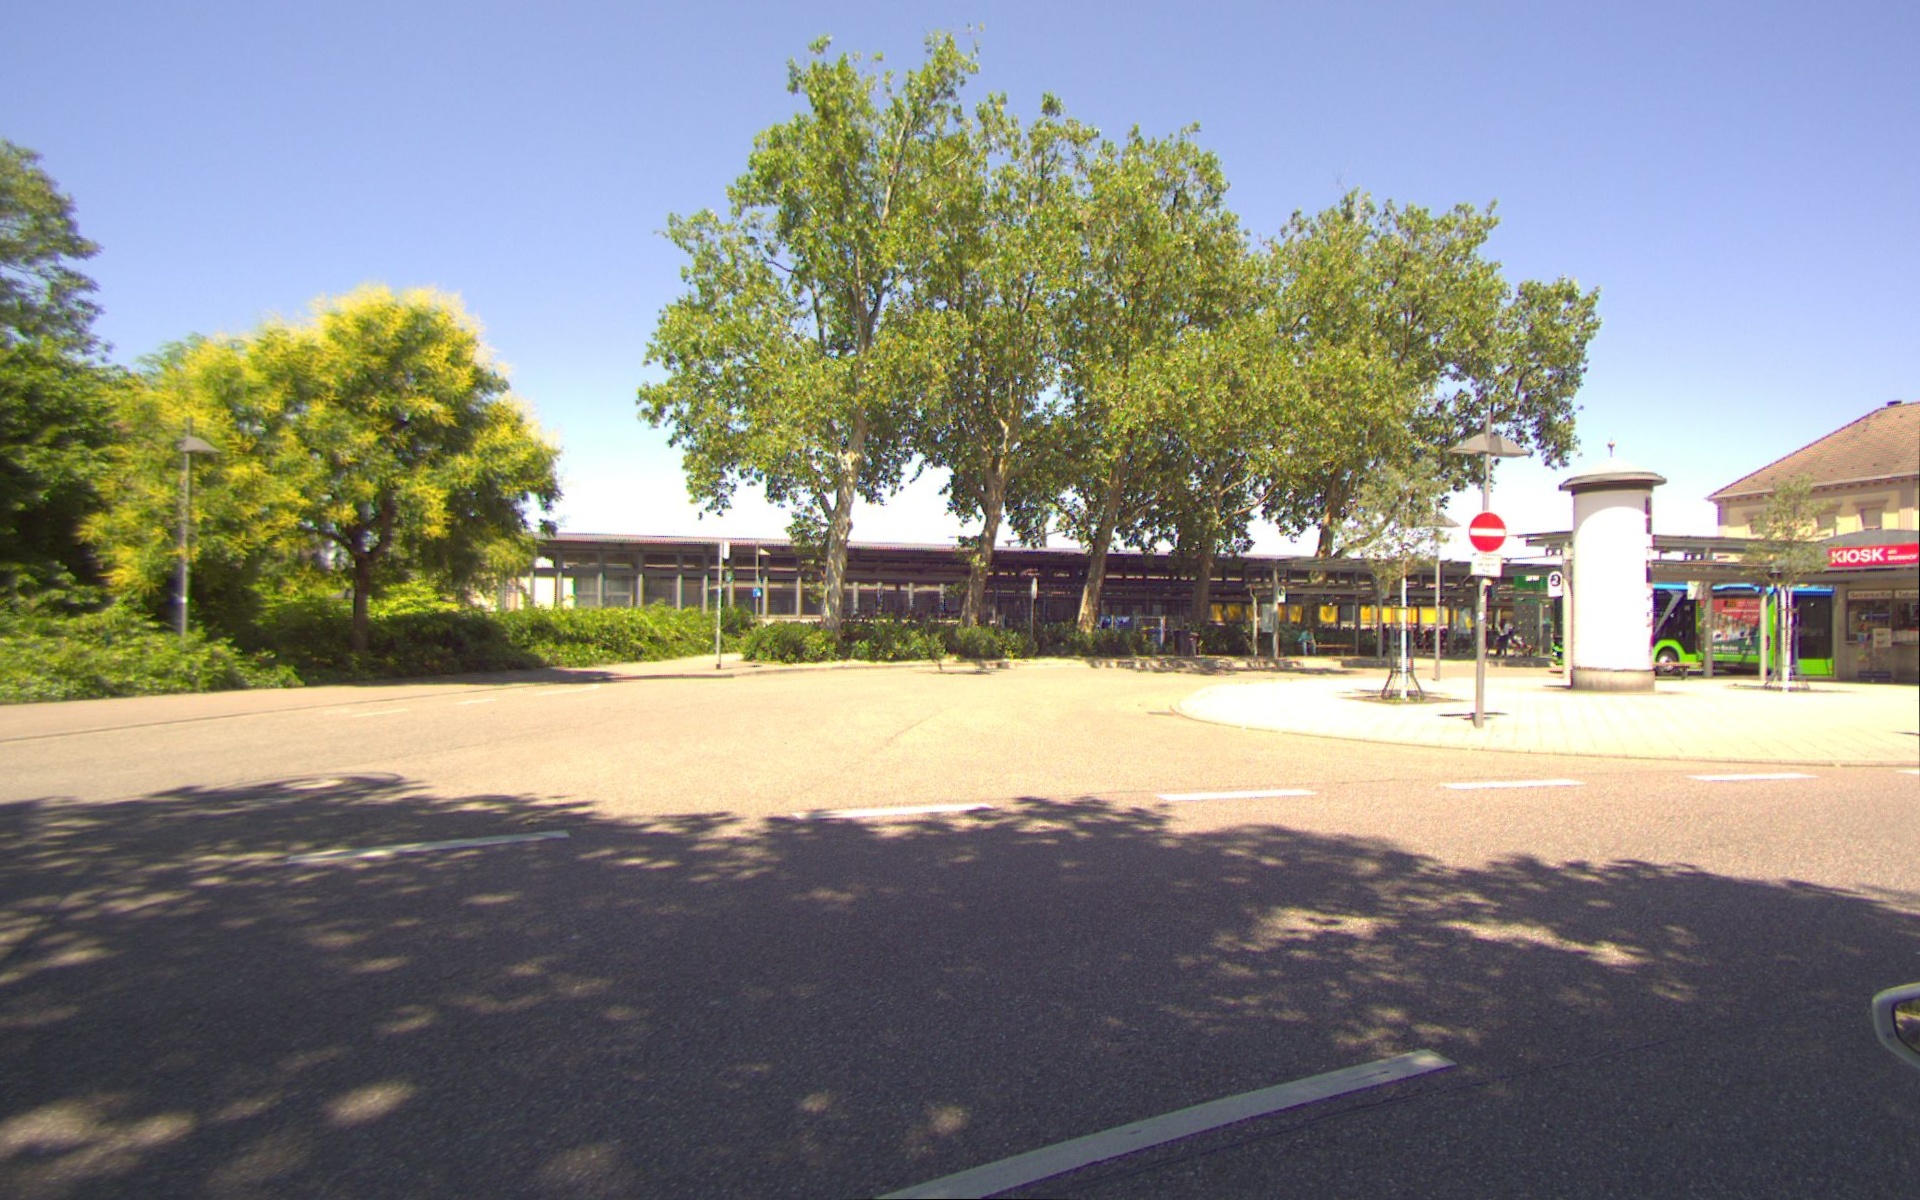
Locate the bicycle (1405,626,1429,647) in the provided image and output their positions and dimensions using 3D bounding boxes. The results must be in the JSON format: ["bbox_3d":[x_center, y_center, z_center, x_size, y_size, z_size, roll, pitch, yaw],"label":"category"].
[{"bbox_3d":[24.622,1.970,54.132,0.380,1.108,1.382,2,-2,-13],"label":"bicycle"}]

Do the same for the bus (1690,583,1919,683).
[{"bbox_3d":[31.368,1.199,34.410,13.669,3.081,2.674,1,-1,-17],"label":"bus"}]

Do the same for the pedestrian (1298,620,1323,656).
[{"bbox_3d":[14.656,1.601,42.025,0.809,1.483,0.605,1,-1,-19],"label":"pedestrian"}]

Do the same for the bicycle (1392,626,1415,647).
[{"bbox_3d":[23.800,1.932,53.934,0.380,1.108,1.382,2,-2,-13],"label":"bicycle"}]

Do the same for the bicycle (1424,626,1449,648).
[{"bbox_3d":[24.965,1.934,52.683,0.380,1.108,1.382,2,-2,-13],"label":"bicycle"}]

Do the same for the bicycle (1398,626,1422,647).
[{"bbox_3d":[24.212,1.951,54.037,0.380,1.108,1.382,2,-2,-13],"label":"bicycle"}]

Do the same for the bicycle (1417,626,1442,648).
[{"bbox_3d":[24.572,1.916,52.573,0.380,1.108,1.382,2,-2,-14],"label":"bicycle"}]

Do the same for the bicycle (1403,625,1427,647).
[{"bbox_3d":[23.728,1.878,52.409,0.379,1.108,1.382,2,-2,-13],"label":"bicycle"}]

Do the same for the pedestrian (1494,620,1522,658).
[{"bbox_3d":[24.158,1.711,44.294,0.761,1.638,0.814,3,-2,-34],"label":"pedestrian"}]

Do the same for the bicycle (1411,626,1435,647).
[{"bbox_3d":[24.185,1.897,52.465,0.380,1.108,1.382,2,-2,-13],"label":"bicycle"}]

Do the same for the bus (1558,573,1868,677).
[{"bbox_3d":[27.877,0.959,37.099,12.016,3.573,2.163,1,-1,-15],"label":"bus"}]
